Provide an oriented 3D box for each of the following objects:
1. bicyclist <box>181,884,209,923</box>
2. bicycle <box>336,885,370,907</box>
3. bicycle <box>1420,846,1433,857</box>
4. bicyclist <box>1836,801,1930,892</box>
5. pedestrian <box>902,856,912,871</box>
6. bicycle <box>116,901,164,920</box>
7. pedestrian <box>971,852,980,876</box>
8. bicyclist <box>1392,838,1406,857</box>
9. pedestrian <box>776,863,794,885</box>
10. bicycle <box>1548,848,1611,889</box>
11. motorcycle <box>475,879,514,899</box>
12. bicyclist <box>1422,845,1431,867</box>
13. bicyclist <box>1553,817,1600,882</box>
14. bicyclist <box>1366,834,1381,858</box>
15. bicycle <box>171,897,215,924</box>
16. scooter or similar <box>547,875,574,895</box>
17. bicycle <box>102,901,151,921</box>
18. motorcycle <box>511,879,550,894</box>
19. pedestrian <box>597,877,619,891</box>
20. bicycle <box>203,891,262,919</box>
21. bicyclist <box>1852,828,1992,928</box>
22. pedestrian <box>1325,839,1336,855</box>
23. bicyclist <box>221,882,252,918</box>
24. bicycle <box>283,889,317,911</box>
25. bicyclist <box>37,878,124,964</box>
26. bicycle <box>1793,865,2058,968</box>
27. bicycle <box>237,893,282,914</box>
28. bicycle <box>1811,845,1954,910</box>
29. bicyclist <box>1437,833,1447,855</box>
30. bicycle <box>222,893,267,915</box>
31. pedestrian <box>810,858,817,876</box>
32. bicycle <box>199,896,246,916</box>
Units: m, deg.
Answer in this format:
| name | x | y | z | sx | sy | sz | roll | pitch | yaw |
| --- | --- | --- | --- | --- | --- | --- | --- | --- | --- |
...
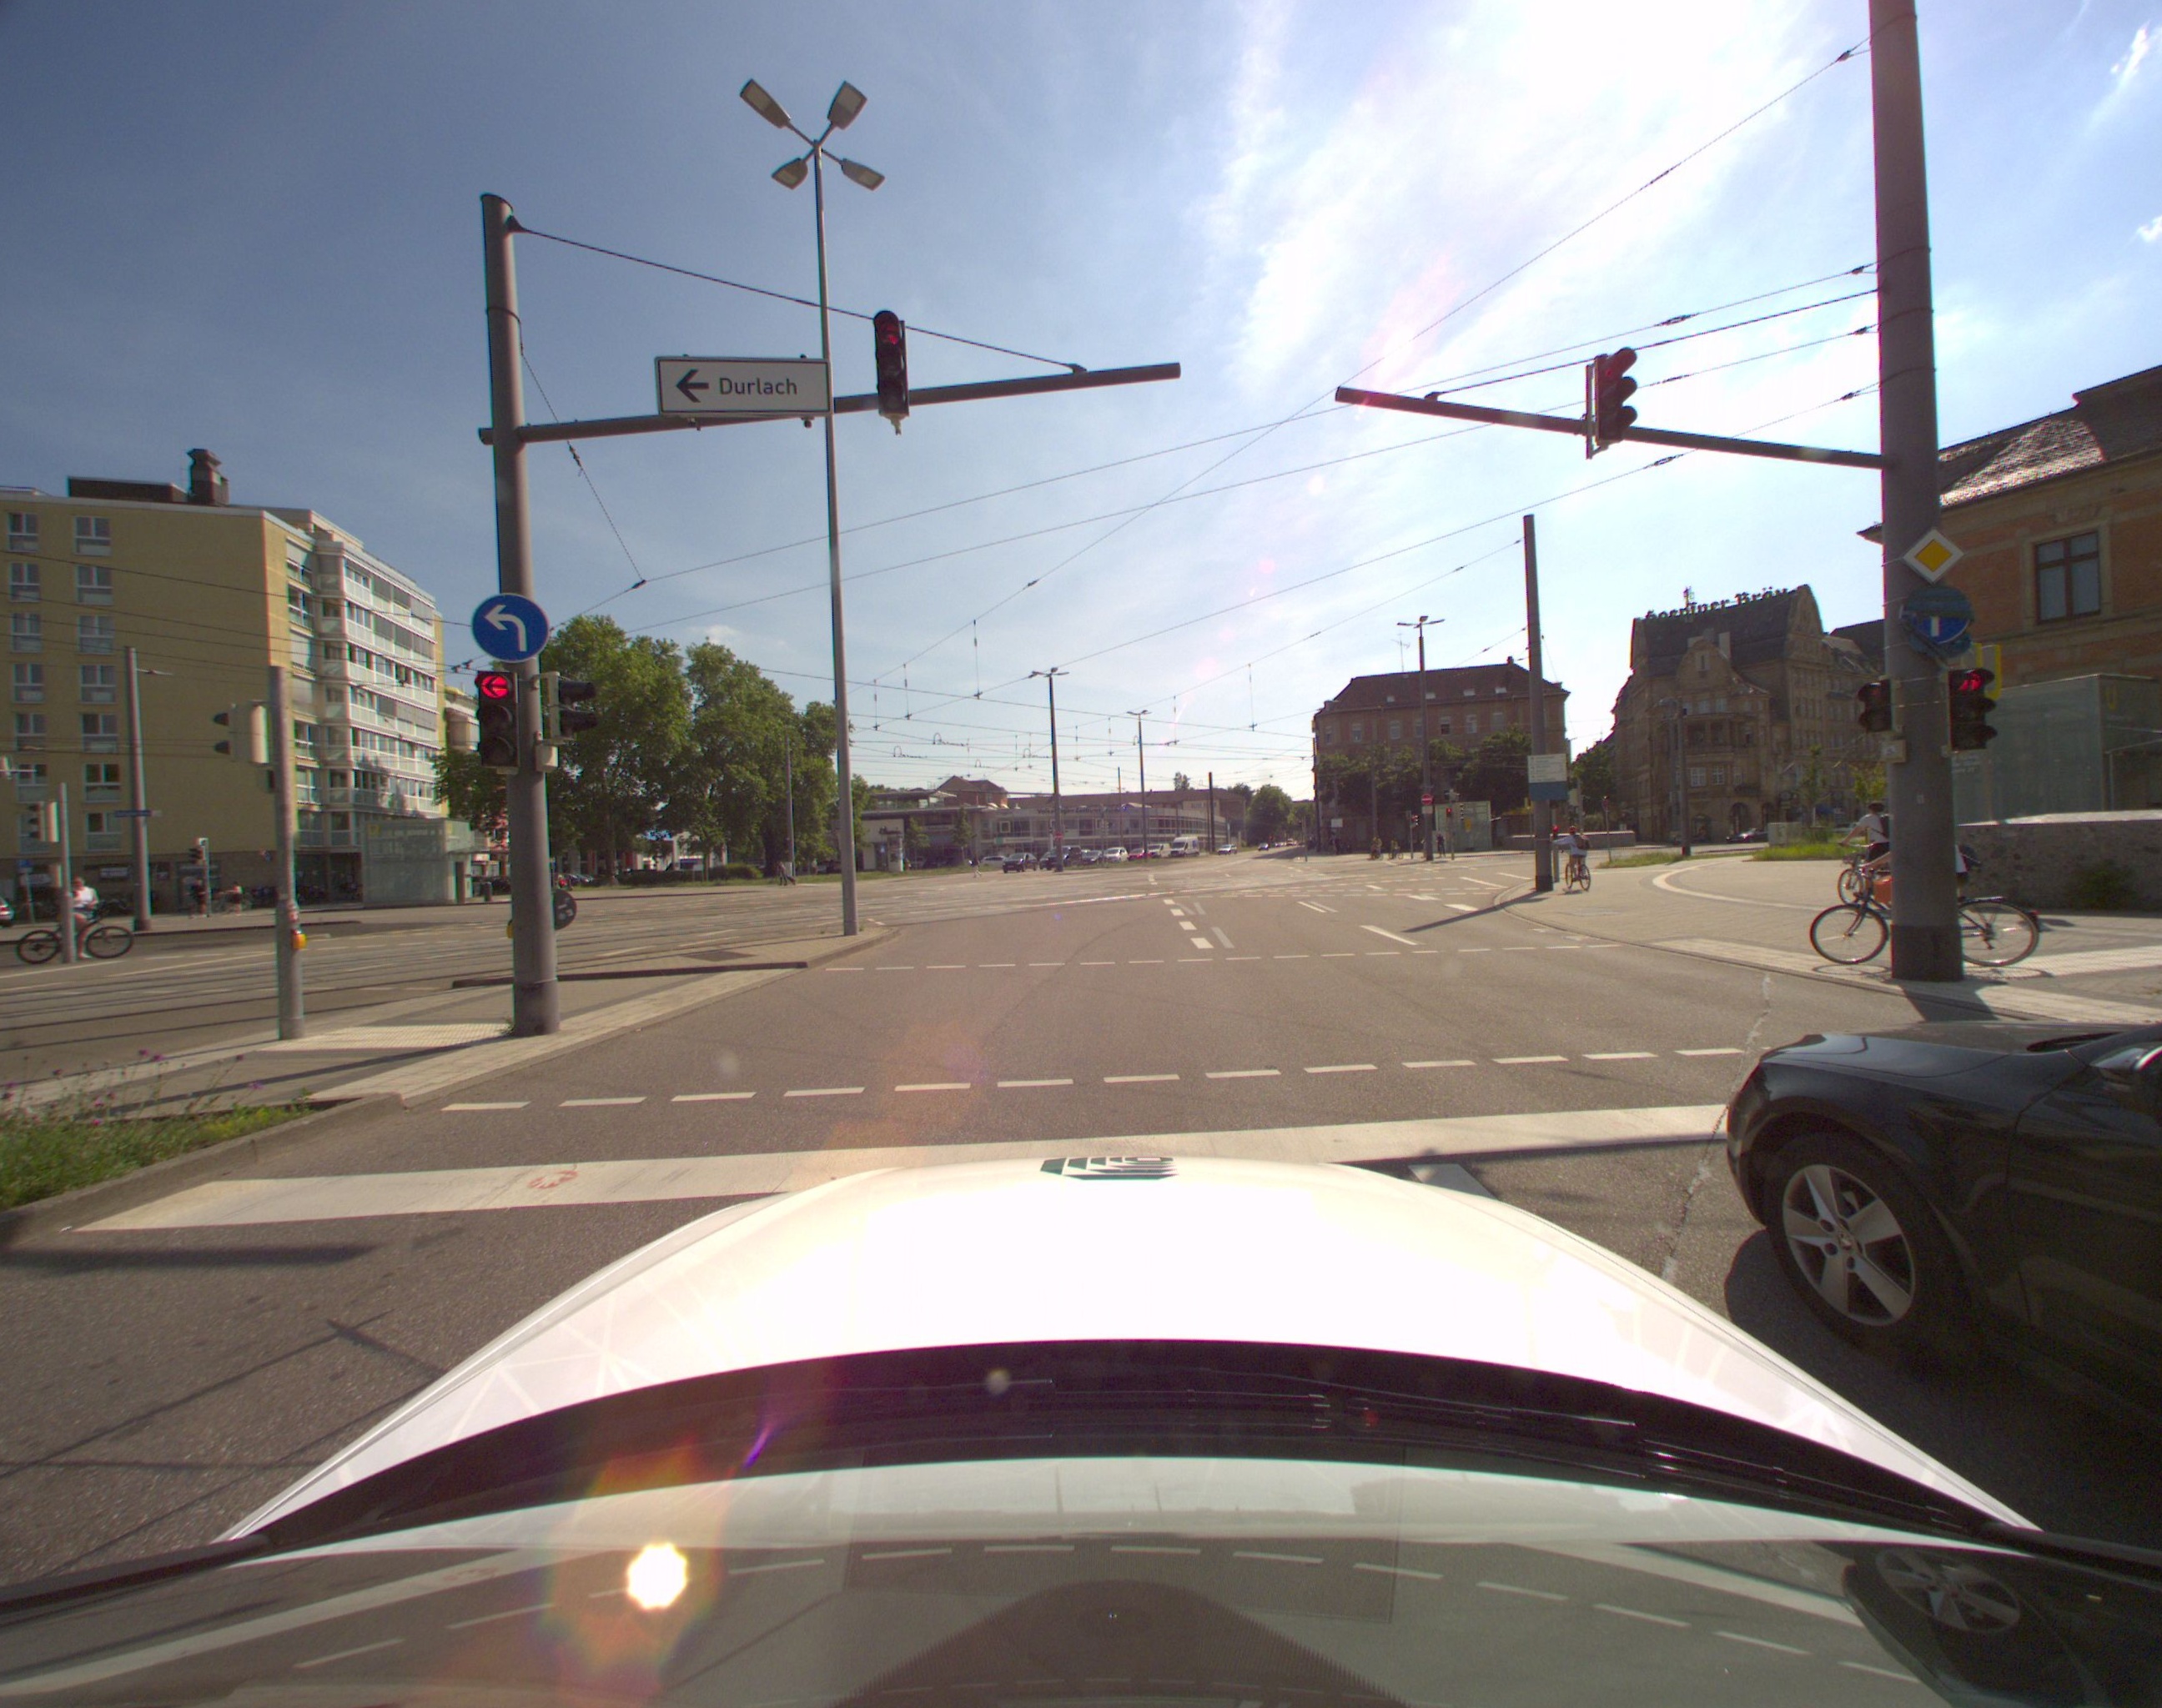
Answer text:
| name | x | y | z | sx | sy | sz | roll | pitch | yaw |
| --- | --- | --- | --- | --- | --- | --- | --- | --- | --- |
| bicyclist | -40.789 | 2.267 | 37.498 | 0.584 | 1.735 | 0.613 | -3 | -1 | -22 |
| bicycle | -44.391 | 2.552 | 49.682 | 0.581 | 1.219 | 1.754 | -3 | 1 | -5 |
| bicycle | 25.937 | -0.195 | 61.099 | 0.497 | 0.866 | 1.590 | 0 | 0 | 7 |
| bicyclist | 13.573 | -0.122 | 13.816 | 0.710 | 1.488 | 0.953 | 0 | -1 | 10 |
| pedestrian | -18.428 | 1.044 | 86.413 | 0.951 | 1.580 | 0.534 | 0 | -1 | -2 |
| bicycle | -51.990 | 3.123 | 45.014 | 1.750 | 0.916 | 0.582 | -3 | 1 | -8 |
| pedestrian | -7.091 | 0.695 | 54.867 | 0.456 | 1.605 | 0.396 | 0 | -1 | -34 |
| bicyclist | 23.949 | -0.486 | 61.356 | 0.918 | 1.451 | 1.258 | -1 | 1 | 21 |
| pedestrian | -19.182 | 1.267 | 52.828 | 1.117 | 1.404 | 0.652 | 0 | -1 | -20 |
| bicycle | 13.586 | 0.385 | 22.263 | 0.710 | 1.015 | 2.026 | -5 | 0 | 10 |
| motorcycle | -35.749 | 2.131 | 49.654 | 2.019 | 1.062 | 0.642 | -2 | 0 | 9 |
| bicyclist | 25.950 | 0.166 | 61.137 | 0.497 | 1.621 | 0.651 | 0 | 0 | 7 |
| bicyclist | 13.537 | -0.123 | 22.259 | 0.710 | 1.669 | 0.877 | -5 | -1 | 10 |
| bicyclist | 22.021 | -0.577 | 61.303 | 0.920 | 1.820 | 1.056 | -1 | -1 | 12 |
| bicycle | -40.935 | 2.577 | 37.567 | 0.584 | 1.130 | 1.784 | -3 | -1 | -21 |
| scooter or similar | -32.100 | 1.915 | 50.214 | 1.351 | 1.119 | 0.519 | -2 | 0 | 11 |
| bicycle | -52.067 | 3.118 | 44.451 | 1.750 | 0.916 | 0.582 | -3 | 1 | -8 |
| motorcycle | -36.868 | 2.168 | 54.566 | 0.632 | 0.842 | 2.051 | -2 | 0 | 35 |
| pedestrian | -33.167 | 2.131 | 57.103 | 1.175 | 0.892 | 0.818 | -2 | 0 | -18 |
| bicycle | -39.202 | 2.345 | 37.670 | 0.749 | 1.130 | 1.798 | -2 | 0 | 3 |
| bicyclist | 9.317 | 0.264 | 9.069 | 0.904 | 1.029 | 0.721 | -5 | -1 | 35 |
| pedestrian | 22.064 | -0.627 | 72.077 | 0.616 | 1.433 | 0.705 | 0 | -1 | -36 |
| bicyclist | -39.175 | 2.124 | 37.766 | 0.728 | 1.572 | 0.613 | -3 | -1 | 2 |
| bicycle | -46.289 | 2.688 | 48.304 | 0.540 | 1.186 | 1.881 | -2 | 0 | -13 |
| bicyclist | -20.921 | 1.381 | 17.048 | 0.774 | 1.684 | 0.749 | -4 | 0 | -9 |
| bicycle | 9.292 | 0.703 | 9.097 | 1.894 | 1.015 | 0.721 | -5 | -1 | 35 |
| bicycle | -46.814 | 2.802 | 46.396 | 1.750 | 1.043 | 0.582 | -3 | 1 | -9 |
| bicycle | 13.586 | 0.377 | 13.891 | 0.709 | 1.015 | 2.026 | -1 | -1 | 11 |
| bicyclist | 26.917 | -0.755 | 60.696 | 0.661 | 1.624 | 0.787 | -1 | 0 | 24 |
| bicycle | -46.961 | 2.809 | 45.733 | 1.747 | 1.085 | 0.583 | -3 | 3 | -4 |
| pedestrian | -24.282 | 1.184 | 74.048 | 0.388 | 1.596 | 0.467 | -1 | -1 | 25 |
| bicycle | -48.418 | 2.916 | 45.936 | 1.751 | 0.965 | 0.582 | -3 | 1 | -11 |
